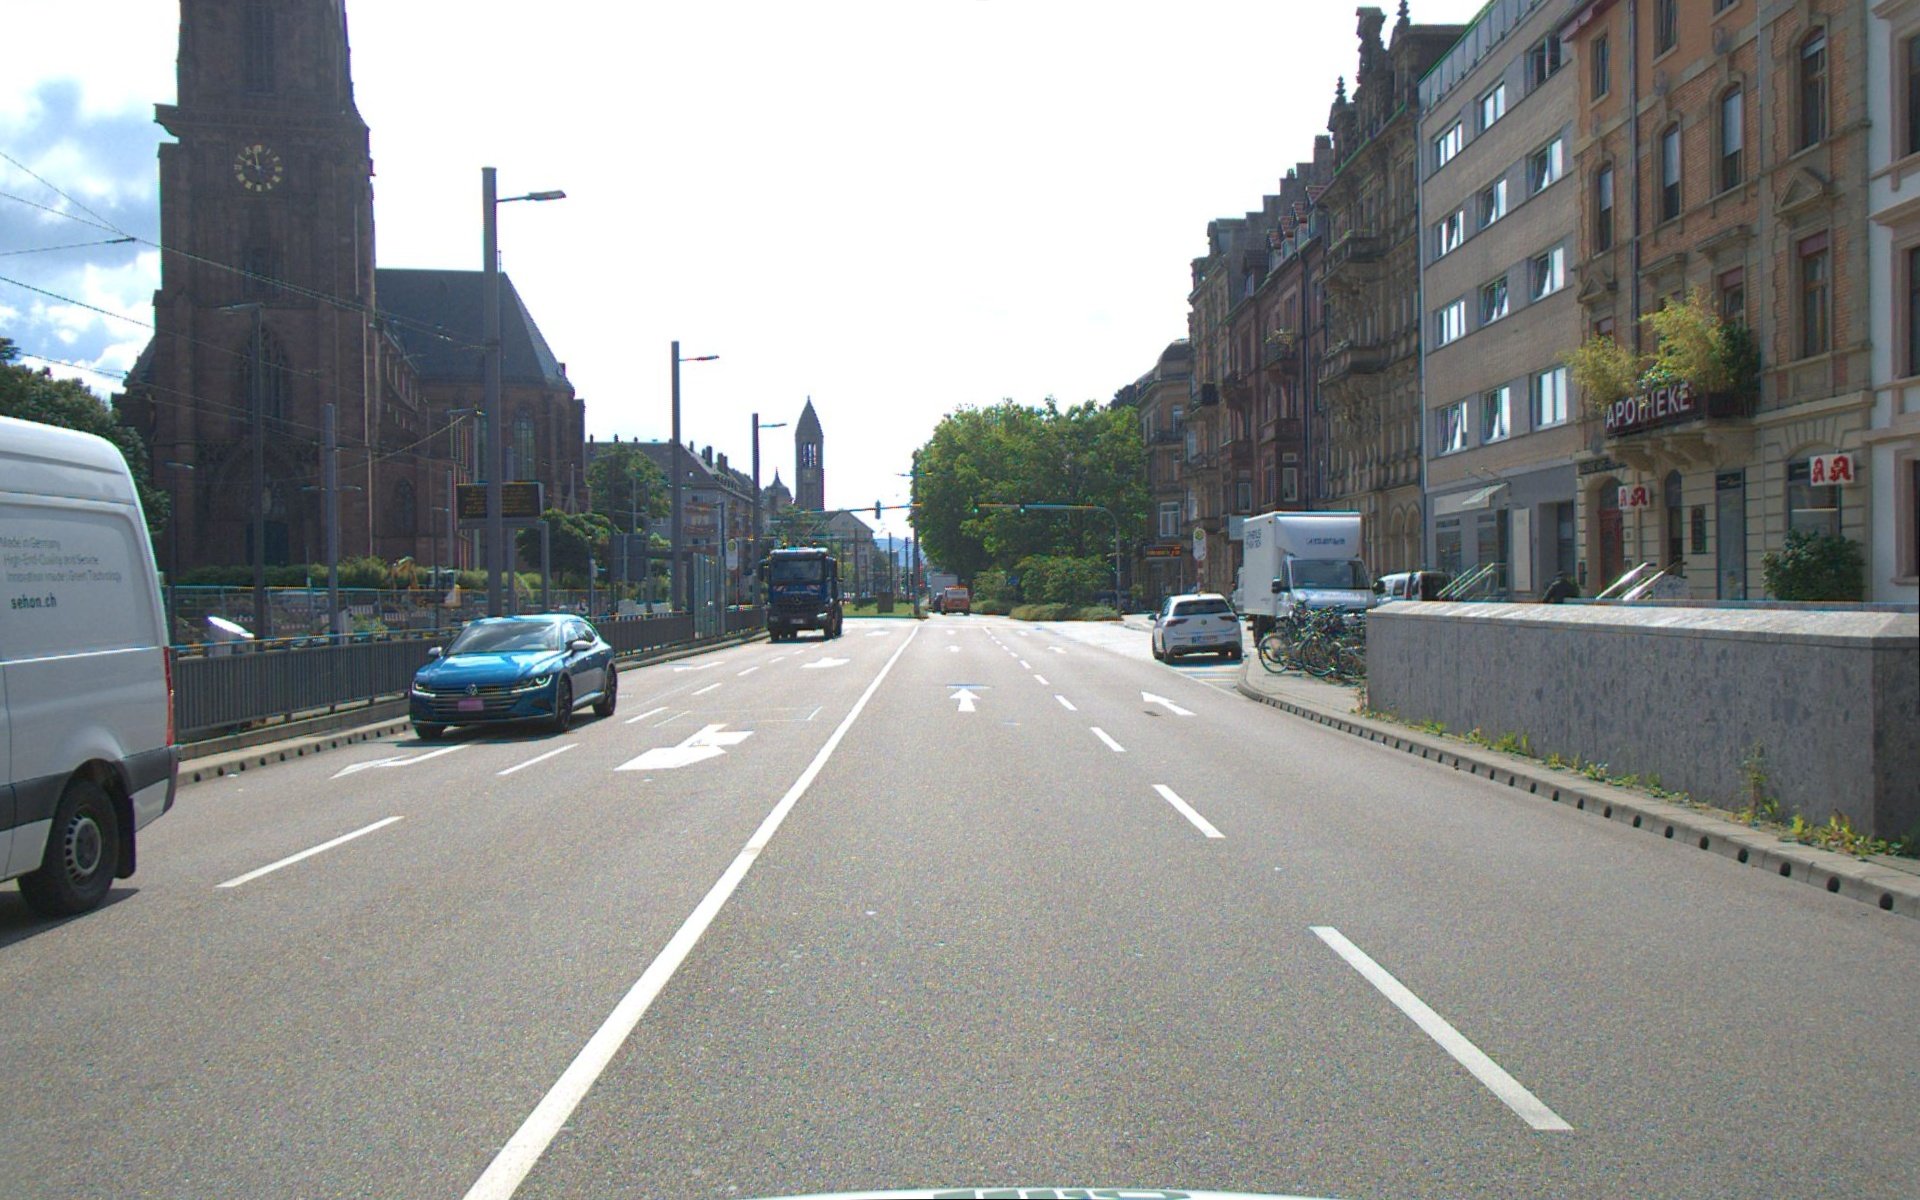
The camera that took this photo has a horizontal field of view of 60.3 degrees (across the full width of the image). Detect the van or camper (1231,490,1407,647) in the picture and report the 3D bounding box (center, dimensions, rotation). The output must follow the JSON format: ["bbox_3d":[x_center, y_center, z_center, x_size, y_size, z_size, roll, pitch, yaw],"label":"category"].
[{"bbox_3d":[8.498,-0.688,40.089,2.656,3.389,7.640,-1,0,1],"label":"van or camper"}]

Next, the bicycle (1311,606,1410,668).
[{"bbox_3d":[7.235,0.663,29.890,1.726,1.104,0.371,0,1,-10],"label":"bicycle"}]

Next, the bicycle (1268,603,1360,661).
[{"bbox_3d":[6.892,0.613,32.230,1.724,1.104,0.372,0,1,-7],"label":"bicycle"}]

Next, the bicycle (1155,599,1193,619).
[{"bbox_3d":[13.032,0.538,100.783,2.147,1.201,0.683,-1,0,-5],"label":"bicycle"}]

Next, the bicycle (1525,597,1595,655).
[{"bbox_3d":[12.350,0.553,34.123,0.689,1.066,2.208,1,-4,1],"label":"bicycle"}]

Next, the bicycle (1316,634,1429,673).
[{"bbox_3d":[6.732,0.868,27.058,0.632,0.596,1.745,-1,0,-40],"label":"bicycle"}]

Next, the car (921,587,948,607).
[{"bbox_3d":[-1.998,-0.253,127.625,1.953,1.534,3.998,-1,0,-2],"label":"car"}]

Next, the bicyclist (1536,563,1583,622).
[{"bbox_3d":[12.362,-0.148,34.136,0.693,1.168,0.813,1,-4,1],"label":"bicyclist"}]

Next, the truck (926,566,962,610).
[{"bbox_3d":[-1.458,-1.037,147.750,3.106,3.344,7.292,0,-4,-2],"label":"truck"}]

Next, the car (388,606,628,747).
[{"bbox_3d":[-5.711,0.896,21.509,1.812,1.480,4.555,-2,1,0],"label":"car"}]

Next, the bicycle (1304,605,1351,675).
[{"bbox_3d":[6.150,0.658,27.727,0.364,1.090,1.764,0,1,-1],"label":"bicycle"}]

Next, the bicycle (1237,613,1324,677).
[{"bbox_3d":[5.798,0.808,29.901,1.573,1.104,0.370,0,1,-20],"label":"bicycle"}]

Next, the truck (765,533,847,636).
[{"bbox_3d":[-5.884,-0.587,64.170,2.413,3.712,7.449,-1,0,0],"label":"truck"}]

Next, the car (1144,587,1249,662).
[{"bbox_3d":[5.315,0.547,37.648,1.754,1.462,4.343,-5,-1,1],"label":"car"}]

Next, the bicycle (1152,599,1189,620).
[{"bbox_3d":[12.945,0.584,101.518,2.147,1.201,0.683,-1,0,-5],"label":"bicycle"}]

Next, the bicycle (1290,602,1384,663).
[{"bbox_3d":[7.004,0.598,30.726,1.728,1.104,0.371,0,1,-13],"label":"bicycle"}]

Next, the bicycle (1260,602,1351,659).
[{"bbox_3d":[6.816,0.590,32.661,1.724,1.104,0.372,0,1,-7],"label":"bicycle"}]

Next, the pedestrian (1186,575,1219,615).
[{"bbox_3d":[8.289,-0.164,56.529,0.737,1.339,0.810,2,-1,-39],"label":"pedestrian"}]

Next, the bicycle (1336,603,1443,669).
[{"bbox_3d":[7.307,0.612,28.183,1.722,1.104,0.372,0,1,1],"label":"bicycle"}]

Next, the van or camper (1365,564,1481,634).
[{"bbox_3d":[14.214,-0.029,51.108,1.953,1.938,5.297,-3,0,-1],"label":"van or camper"}]

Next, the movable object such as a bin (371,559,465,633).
[{"bbox_3d":[-28.947,-0.217,88.508,2.609,3.796,5.598,-1,0,7],"label":"movable object such as a bin"}]

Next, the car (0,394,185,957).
[{"bbox_3d":[-5.515,0.383,6.885,1.953,2.667,5.579,-2,0,-1],"label":"car"}]

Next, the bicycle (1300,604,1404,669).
[{"bbox_3d":[6.833,0.632,28.842,1.722,1.104,0.372,0,1,1],"label":"bicycle"}]

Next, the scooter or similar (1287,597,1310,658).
[{"bbox_3d":[6.948,0.555,33.935,0.361,1.235,1.253,1,0,8],"label":"scooter or similar"}]

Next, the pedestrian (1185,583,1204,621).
[{"bbox_3d":[12.805,0.112,90.236,0.868,2.049,0.996,1,-1,-1],"label":"pedestrian"}]

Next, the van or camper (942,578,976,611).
[{"bbox_3d":[-0.102,-0.395,115.381,1.969,1.948,4.517,1,-4,-4],"label":"van or camper"}]

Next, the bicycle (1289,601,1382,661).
[{"bbox_3d":[7.094,0.575,31.228,1.728,1.104,0.371,0,1,-13],"label":"bicycle"}]
